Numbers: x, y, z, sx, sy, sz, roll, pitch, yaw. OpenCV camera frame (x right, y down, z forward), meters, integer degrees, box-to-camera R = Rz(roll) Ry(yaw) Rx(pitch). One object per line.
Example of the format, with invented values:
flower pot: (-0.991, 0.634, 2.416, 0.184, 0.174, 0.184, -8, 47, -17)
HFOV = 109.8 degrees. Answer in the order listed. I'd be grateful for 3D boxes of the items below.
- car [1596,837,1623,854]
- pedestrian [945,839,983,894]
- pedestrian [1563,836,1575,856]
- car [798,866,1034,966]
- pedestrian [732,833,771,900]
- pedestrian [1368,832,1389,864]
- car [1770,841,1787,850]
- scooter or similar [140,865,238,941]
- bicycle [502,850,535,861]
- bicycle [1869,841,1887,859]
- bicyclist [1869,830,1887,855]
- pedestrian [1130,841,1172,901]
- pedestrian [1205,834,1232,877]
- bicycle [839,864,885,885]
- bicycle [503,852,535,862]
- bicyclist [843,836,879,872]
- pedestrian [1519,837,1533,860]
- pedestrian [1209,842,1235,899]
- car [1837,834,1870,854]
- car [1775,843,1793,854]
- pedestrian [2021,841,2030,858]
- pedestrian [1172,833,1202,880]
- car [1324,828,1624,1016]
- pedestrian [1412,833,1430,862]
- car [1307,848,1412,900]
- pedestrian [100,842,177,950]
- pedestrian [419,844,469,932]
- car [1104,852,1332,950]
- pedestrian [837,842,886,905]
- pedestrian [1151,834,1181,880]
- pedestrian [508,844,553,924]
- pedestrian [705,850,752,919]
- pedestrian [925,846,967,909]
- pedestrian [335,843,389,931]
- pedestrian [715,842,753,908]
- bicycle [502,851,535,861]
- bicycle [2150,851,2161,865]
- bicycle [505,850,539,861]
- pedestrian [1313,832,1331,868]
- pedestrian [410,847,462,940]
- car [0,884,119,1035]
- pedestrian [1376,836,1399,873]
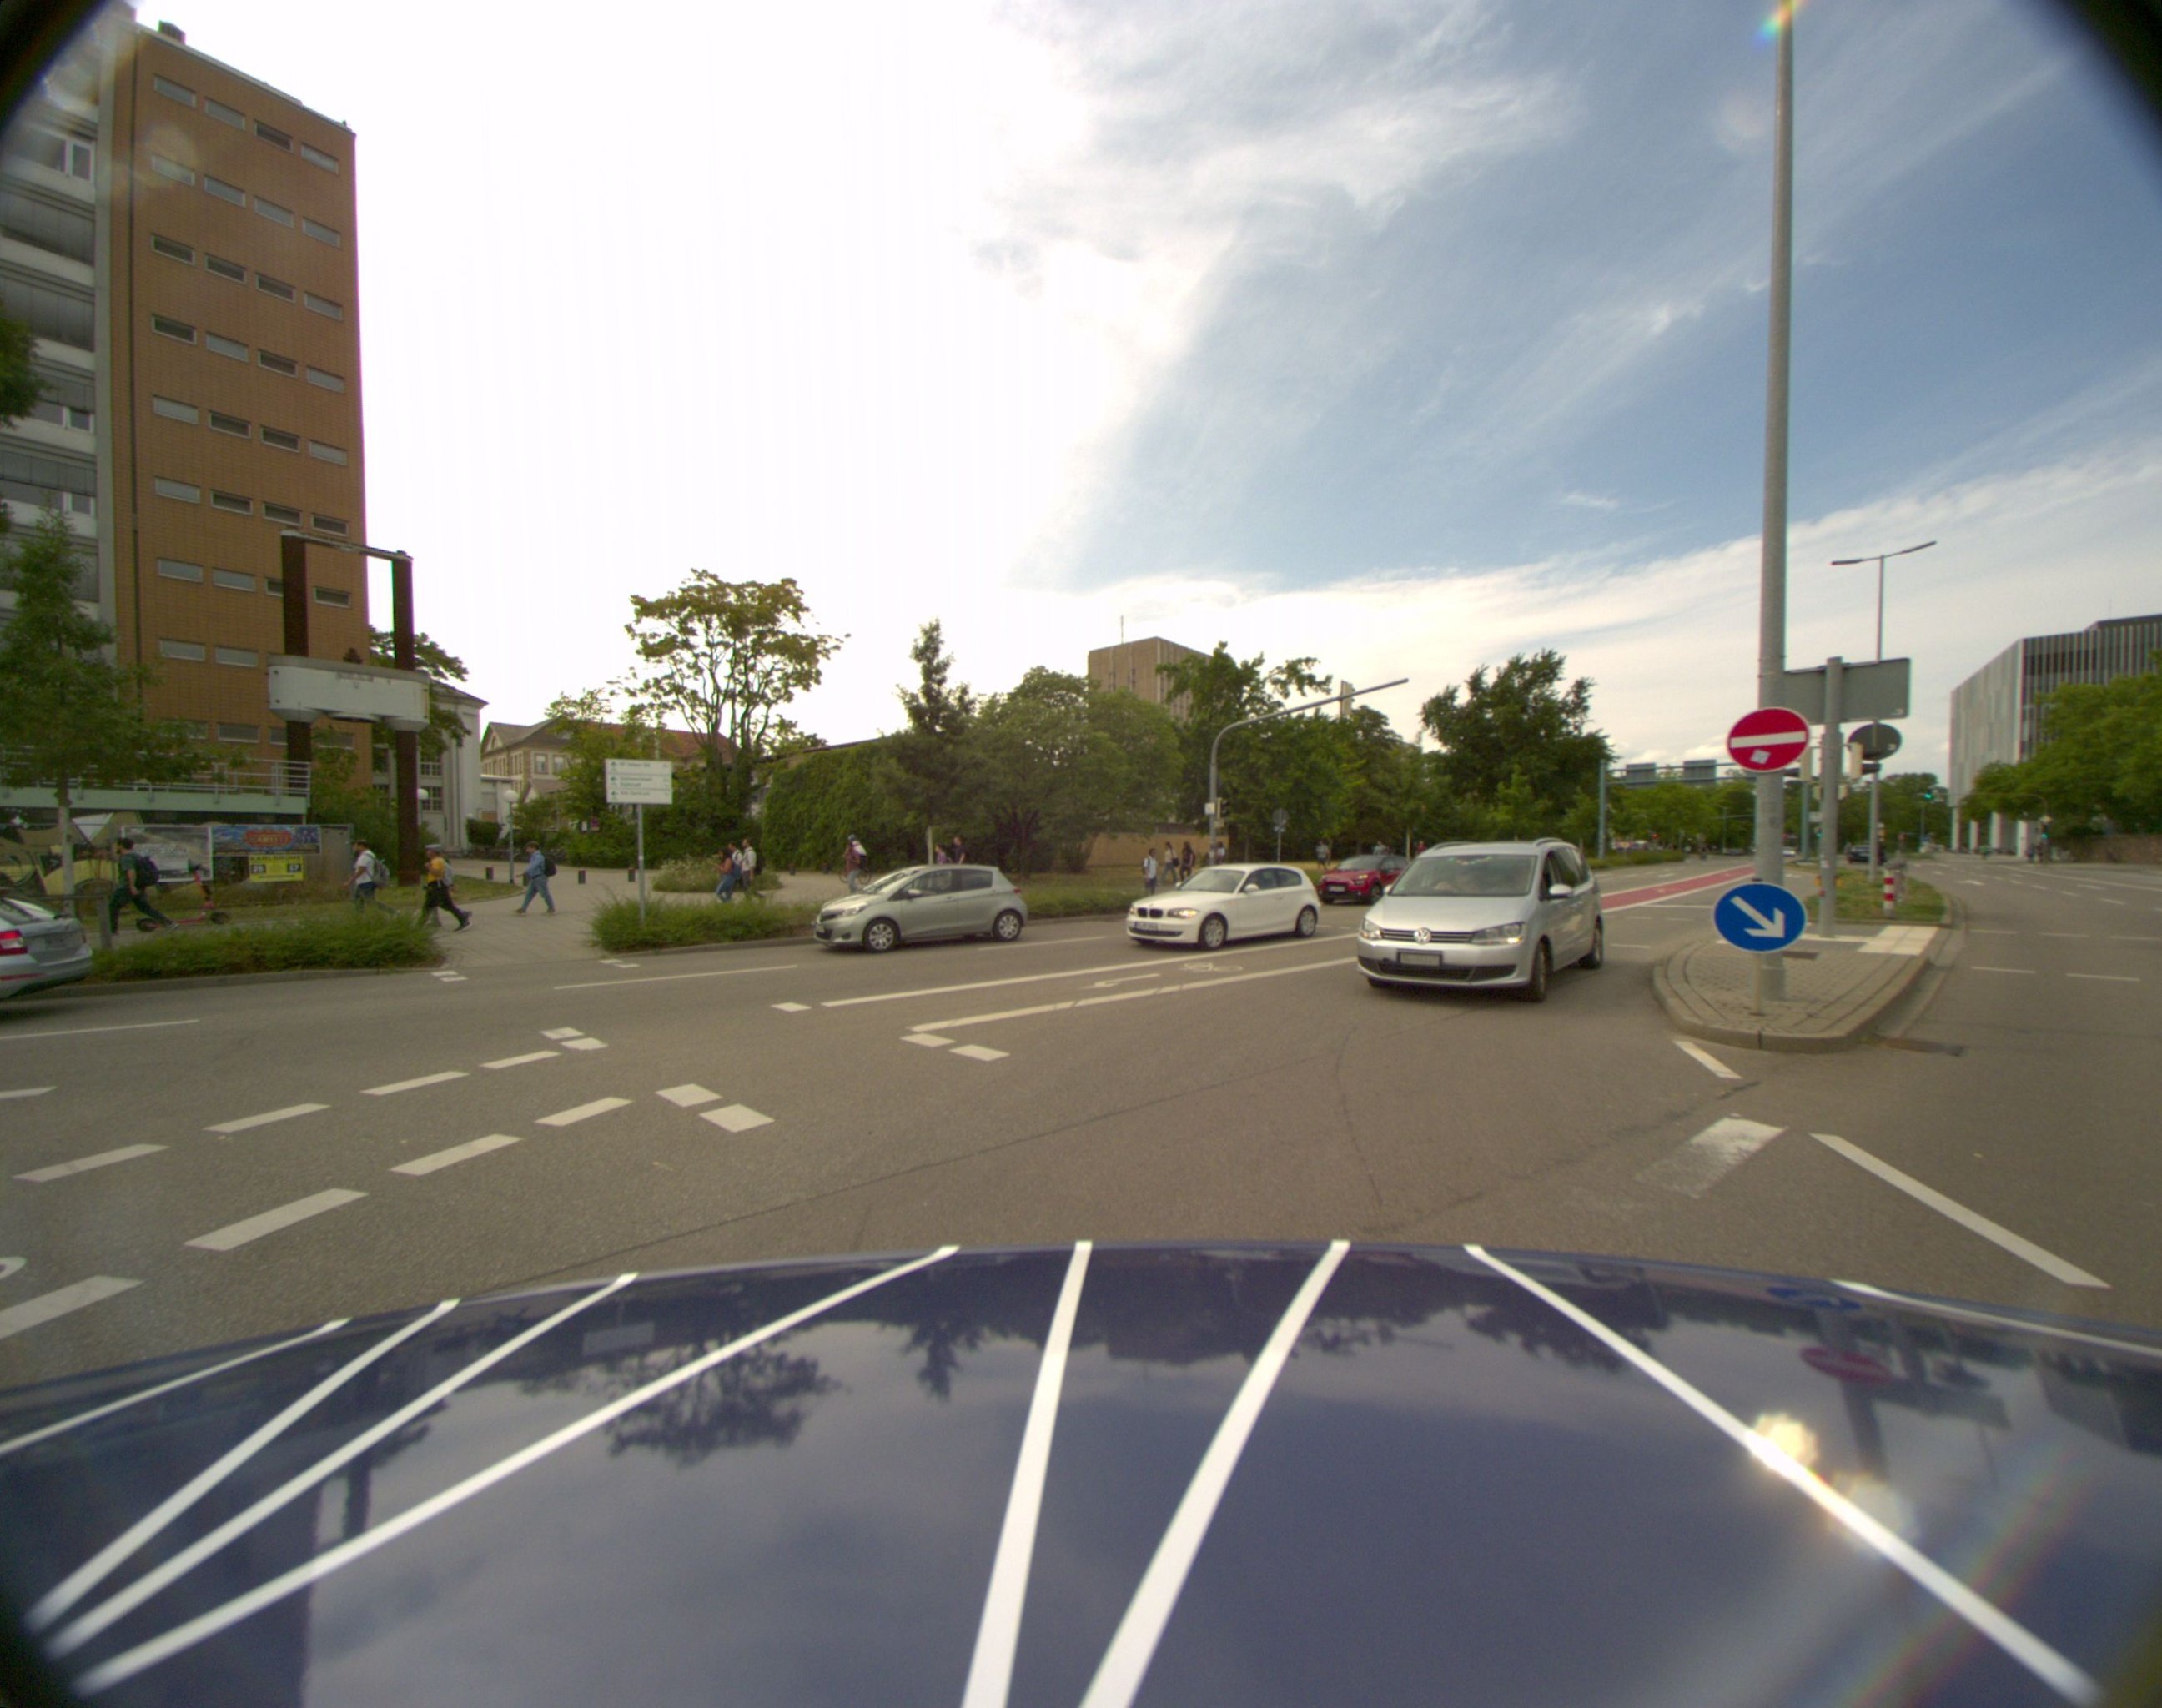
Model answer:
car: (62.120, -1.004, 89.233, 1.994, 2.002, 4.008, -1, 0, 43)
pedestrian: (-3.687, 0.395, 23.952, 0.801, 1.701, 0.837, -2, 1, -42)
pedestrian: (42.074, -0.716, 65.542, 0.696, 1.701, 0.712, -2, 1, -45)
car: (-2.968, 1.035, 14.053, 3.883, 1.481, 1.667, -2, 0, -38)
pedestrian: (-8.469, 0.315, 19.542, 0.709, 1.701, 0.638, -2, 1, -42)
pedestrian: (16.121, -0.300, 41.169, 0.840, 1.701, 0.696, -1, 1, 42)
car: (131.649, -1.665, 143.412, 4.008, 1.565, 1.995, -2, 0, -41)
scooter or similar: (-16.987, 0.900, 14.492, 0.398, 1.362, 1.150, -1, 1, 35)
bicycle: (-39.617, 0.121, 53.529, 1.848, 0.690, 0.650, -2, 0, -37)
bicycle: (55.387, -0.269, 52.823, 2.103, 1.182, 0.756, 0, 3, -43)
bicyclist: (55.398, -0.825, 52.821, 1.088, 1.701, 0.776, 0, 3, -42)
pedestrian: (2.045, 0.493, 22.175, 0.841, 1.701, 0.798, -2, 1, -40)
pedestrian: (5.520, 0.069, 30.586, 0.712, 1.701, 0.801, -1, 1, 42)
bicycle: (-8.039, 0.753, 27.995, 0.842, 0.690, 1.846, -2, 0, 12)
bicycle: (-41.692, 0.190, 56.402, 1.848, 0.690, 0.650, -2, 0, -37)
bicyclist: (-8.093, 0.008, 28.014, 0.838, 1.270, 1.014, -1, 0, 13)
pedestrian: (34.223, -0.432, 58.399, 0.696, 1.701, 0.712, -2, 1, -45)
pedestrian: (4.306, 0.493, 23.166, 0.589, 1.701, 0.480, -2, 1, -40)
car: (62.901, -0.849, 61.885, 1.784, 1.481, 4.138, 4, 4, 45)
car: (103.942, -0.846, 112.317, 1.784, 1.481, 4.138, 4, 4, 45)
pedestrian: (83.058, -0.409, 66.812, 0.401, 1.448, 0.474, -1, 1, 39)
pedestrian: (3.949, 0.107, 28.246, 0.837, 1.701, 0.801, -1, 1, 30)
car: (4.922, 0.592, 9.170, 4.537, 1.724, 1.820, -2, 0, -44)
pedestrian: (19.802, -0.372, 44.295, 0.696, 1.701, 0.712, -2, 1, -45)
car: (8.611, 0.576, 23.339, 3.464, 1.407, 1.667, -2, 0, -44)
pedestrian: (-16.839, 0.721, 13.600, 0.709, 1.842, 0.638, -2, 3, -42)
pedestrian: (-12.796, 0.669, 15.256, 0.709, 1.701, 0.638, -2, 1, -42)
car: (2.611, 0.753, 13.889, 4.231, 1.449, 1.756, -2, 0, -40)
pedestrian: (-6.152, 0.541, 21.327, 1.015, 1.701, 0.837, -2, 1, -42)
pedestrian: (3.200, 0.100, 28.688, 0.837, 1.701, 0.801, -1, 1, 30)
pedestrian: (-12.320, 0.651, 17.009, 0.709, 1.702, 0.638, -2, 4, -42)
pedestrian: (-8.354, 0.695, 18.001, 0.801, 1.535, 0.837, -2, 5, -42)
pedestrian: (-3.763, 0.653, 21.190, 0.801, 1.701, 0.837, -2, 1, -42)
pedestrian: (-14.325, 0.627, 15.159, 0.709, 1.701, 0.638, -2, 2, -42)
pedestrian: (-9.129, 0.541, 19.980, 0.709, 1.701, 0.638, -2, 1, -42)
bicycle: (-40.630, 0.159, 54.887, 1.848, 0.690, 0.650, -2, 0, -37)
bicycle: (75.008, 0.276, 52.693, 0.432, 0.882, 1.579, -3, -1, 34)
bicycle: (-38.589, 0.098, 52.479, 1.848, 0.690, 0.650, -2, 0, -37)
pedestrian: (11.559, -0.191, 36.420, 0.543, 1.687, 0.696, 3, 4, 42)
pedestrian: (-12.377, 0.727, 14.584, 0.709, 1.701, 0.638, -2, 3, -42)
car: (-12.937, 1.127, 7.091, 4.536, 1.465, 1.821, -2, 0, -35)
pedestrian: (14.214, 0.020, 35.199, 0.694, 1.701, 0.732, -2, 1, -42)
